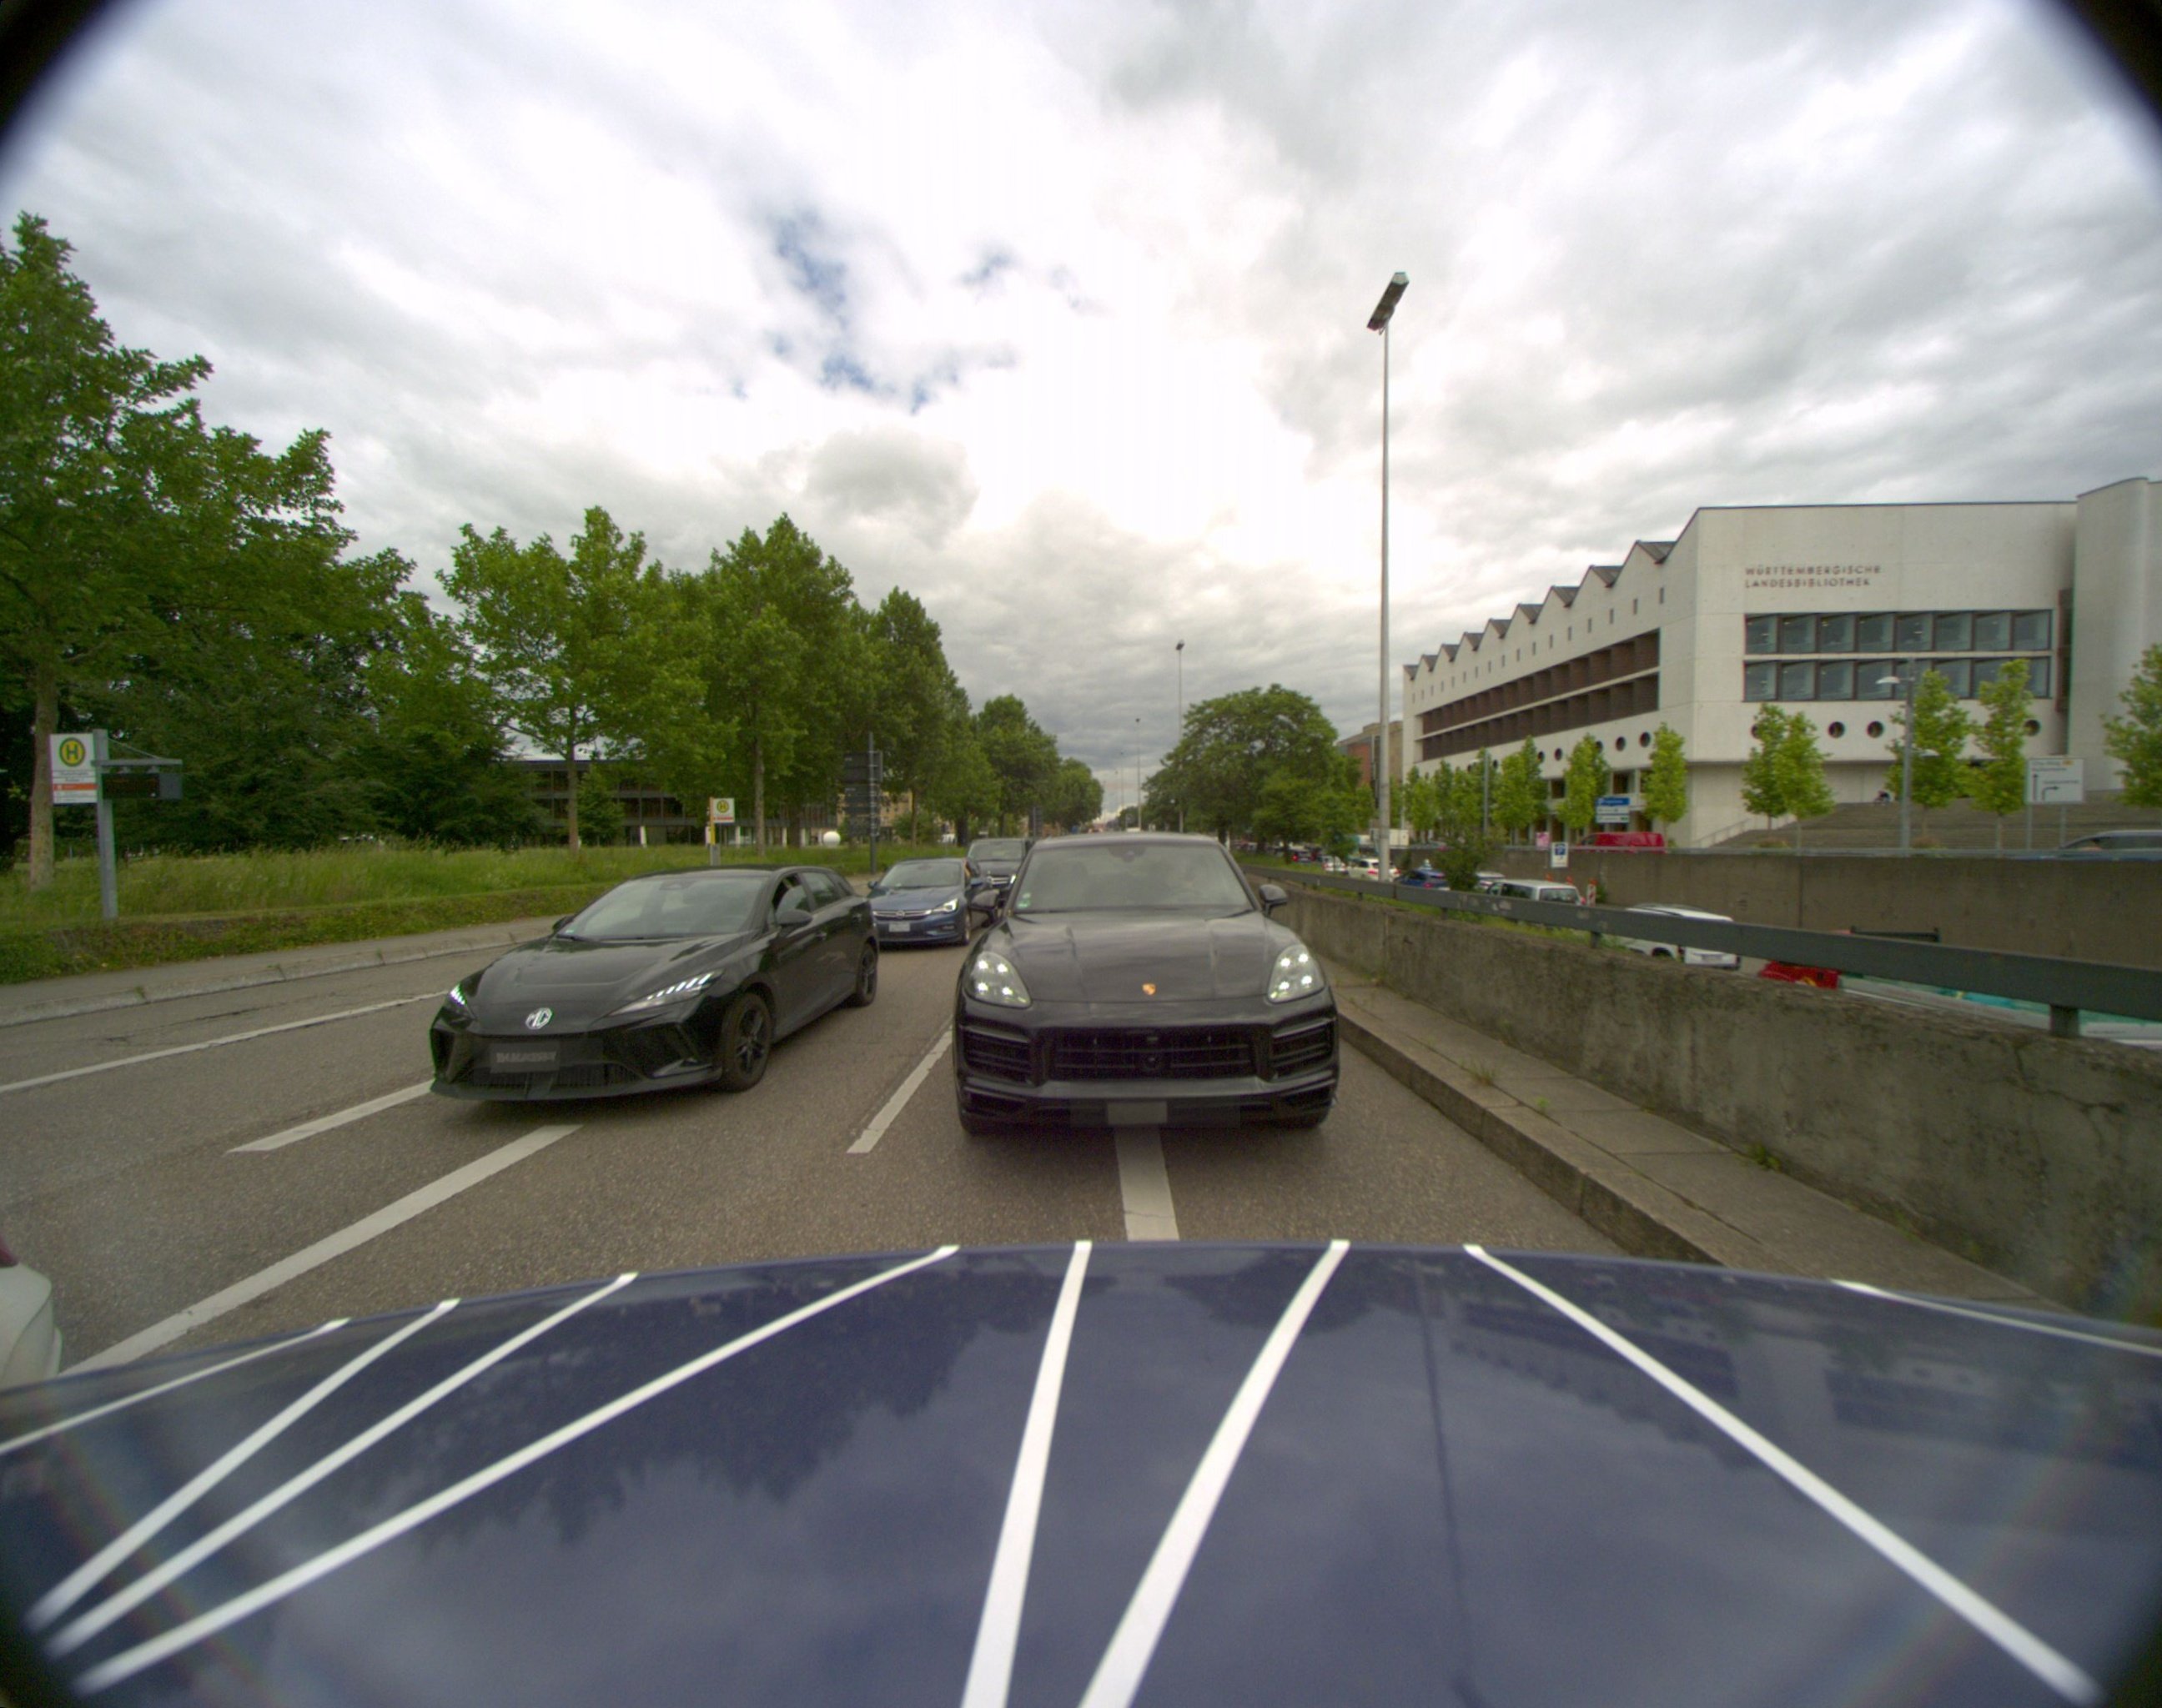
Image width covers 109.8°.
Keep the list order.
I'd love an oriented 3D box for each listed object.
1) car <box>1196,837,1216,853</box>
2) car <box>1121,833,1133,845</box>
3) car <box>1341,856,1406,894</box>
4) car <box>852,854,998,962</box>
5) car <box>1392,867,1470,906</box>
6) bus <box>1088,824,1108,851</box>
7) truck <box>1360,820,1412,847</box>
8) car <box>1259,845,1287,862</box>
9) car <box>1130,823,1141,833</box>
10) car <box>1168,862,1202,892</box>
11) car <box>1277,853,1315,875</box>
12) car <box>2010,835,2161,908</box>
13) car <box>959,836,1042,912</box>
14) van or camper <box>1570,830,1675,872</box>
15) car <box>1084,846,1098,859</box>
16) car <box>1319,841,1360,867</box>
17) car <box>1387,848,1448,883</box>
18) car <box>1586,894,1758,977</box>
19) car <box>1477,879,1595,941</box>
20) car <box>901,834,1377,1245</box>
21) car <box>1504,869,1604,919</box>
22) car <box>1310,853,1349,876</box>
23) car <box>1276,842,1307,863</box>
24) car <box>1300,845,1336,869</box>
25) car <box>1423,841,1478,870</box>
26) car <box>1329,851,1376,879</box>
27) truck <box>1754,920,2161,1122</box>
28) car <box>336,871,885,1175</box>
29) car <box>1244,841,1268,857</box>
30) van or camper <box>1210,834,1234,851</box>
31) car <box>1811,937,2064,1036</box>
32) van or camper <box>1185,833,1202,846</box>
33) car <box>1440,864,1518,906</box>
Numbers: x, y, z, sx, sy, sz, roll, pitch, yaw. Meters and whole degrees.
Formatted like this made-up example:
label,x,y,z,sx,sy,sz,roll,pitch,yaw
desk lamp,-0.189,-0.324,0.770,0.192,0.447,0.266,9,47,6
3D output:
label,x,y,z,sx,sy,sz,roll,pitch,yaw
car,16.902,-1.153,103.194,1.998,2.002,4.000,-5,0,1
car,8.480,-2.785,139.709,1.998,2.002,4.000,-1,0,1
car,17.637,1.199,46.084,1.998,2.119,4.852,2,0,1
car,-2.559,0.811,13.390,1.573,1.528,4.001,-2,1,2
car,17.619,1.604,38.495,1.998,1.733,4.281,2,0,1
bus,2.775,-2.735,126.166,3.043,4.328,8.748,-1,1,0
truck,27.268,-1.782,68.134,2.002,2.145,5.616,-2,0,-5
car,17.034,-0.043,67.572,1.675,1.477,3.361,-2,0,1
car,10.969,-5.189,152.780,1.997,2.002,4.002,-2,1,9
car,7.853,1.694,57.507,1.998,2.002,3.999,-2,1,1
car,17.298,0.780,61.325,1.998,1.650,4.000,-1,0,1
car,27.993,0.420,20.076,1.998,1.805,4.000,-1,0,1
car,-2.115,0.477,21.192,1.723,1.851,4.430,-2,1,1
van or camper,27.548,-0.136,38.864,1.999,2.002,4.556,-1,0,-1
car,1.136,-0.216,88.580,1.565,1.409,3.619,-2,0,1
car,21.363,0.012,62.883,1.998,2.002,4.000,2,0,1
car,20.987,0.676,47.542,1.998,2.002,4.000,2,0,1
car,17.484,2.331,22.766,1.998,2.002,4.000,2,0,1
car,17.606,2.105,29.702,1.998,2.002,4.332,2,0,1
car,0.273,0.776,5.511,1.937,1.668,4.679,-2,0,1
car,21.211,1.742,34.284,1.998,2.002,4.000,2,0,1
car,17.469,0.720,53.575,1.675,1.477,3.361,0,1,1
car,21.174,-0.162,76.709,1.998,2.002,4.000,2,0,1
car,21.237,0.227,68.241,1.998,2.002,4.000,2,0,1
car,27.118,0.090,55.933,1.999,2.002,3.999,-2,1,-1
car,20.958,0.798,58.911,1.998,2.002,4.655,-2,0,1
truck,17.290,2.963,15.240,2.324,2.675,5.979,-2,0,1
car,-3.091,0.970,6.198,1.829,1.515,4.119,-2,0,1
car,17.649,-0.506,76.641,1.675,1.477,3.361,-2,0,1
van or camper,16.939,-1.348,91.422,2.036,2.002,4.000,-2,0,1
car,21.186,3.206,19.081,1.998,1.805,3.865,0,0,0
van or camper,17.428,-2.242,117.770,2.036,2.002,4.000,-2,0,1
car,21.036,1.609,40.370,1.998,2.002,4.000,2,0,1
